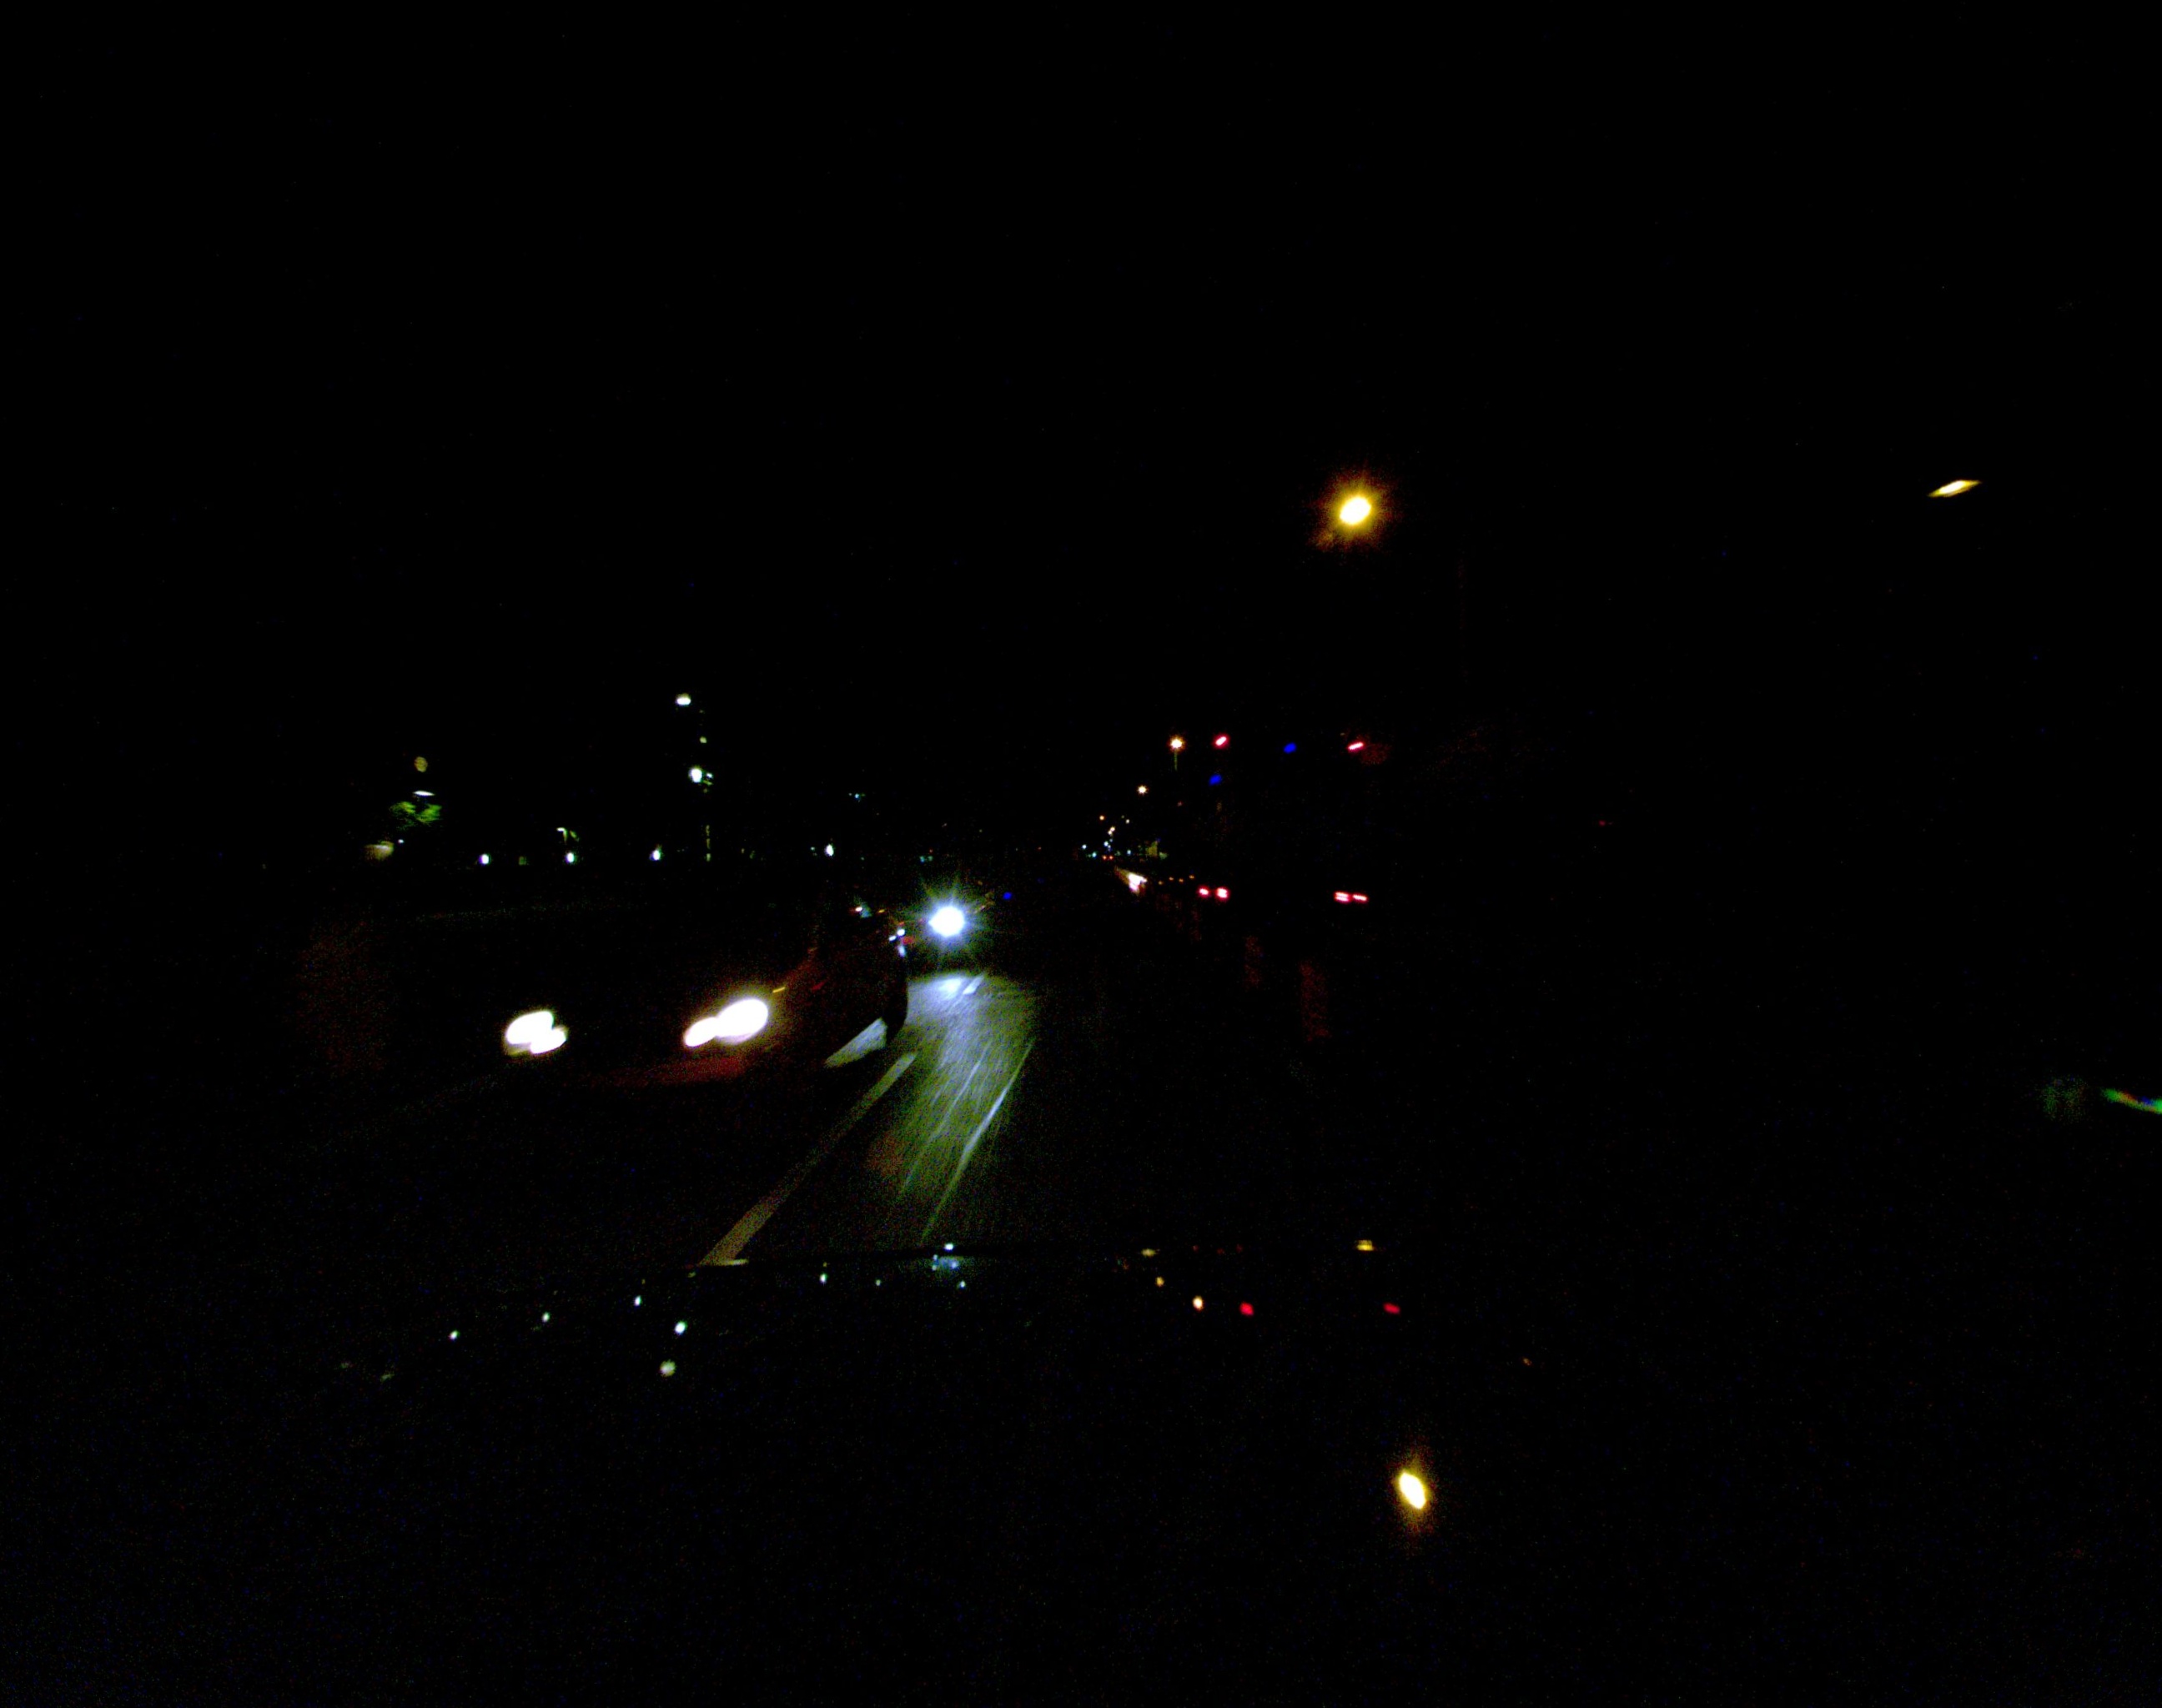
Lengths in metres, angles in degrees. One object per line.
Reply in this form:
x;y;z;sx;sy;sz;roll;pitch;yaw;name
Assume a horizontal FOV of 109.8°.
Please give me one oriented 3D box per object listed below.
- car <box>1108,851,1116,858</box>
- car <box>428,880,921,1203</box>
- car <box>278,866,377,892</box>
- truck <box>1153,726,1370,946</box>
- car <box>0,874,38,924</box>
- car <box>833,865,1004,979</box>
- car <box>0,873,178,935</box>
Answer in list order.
6.533;0.180;160.073;1.671;1.420;4.000;0;0;0;car
-2.577;1.070;6.033;1.641;1.486;4.000;-3;0;1;car
-47.977;1.588;48.523;1.998;1.499;4.301;-1;0;1;car
3.559;-0.237;18.031;2.762;3.695;10.114;-1;-1;0;truck
-34.011;1.422;21.611;1.894;1.504;4.891;-1;0;0;car
-2.640;1.046;13.560;1.809;1.485;4.729;-3;0;2;car
-29.180;1.379;21.717;1.773;1.524;4.098;-1;0;1;car
